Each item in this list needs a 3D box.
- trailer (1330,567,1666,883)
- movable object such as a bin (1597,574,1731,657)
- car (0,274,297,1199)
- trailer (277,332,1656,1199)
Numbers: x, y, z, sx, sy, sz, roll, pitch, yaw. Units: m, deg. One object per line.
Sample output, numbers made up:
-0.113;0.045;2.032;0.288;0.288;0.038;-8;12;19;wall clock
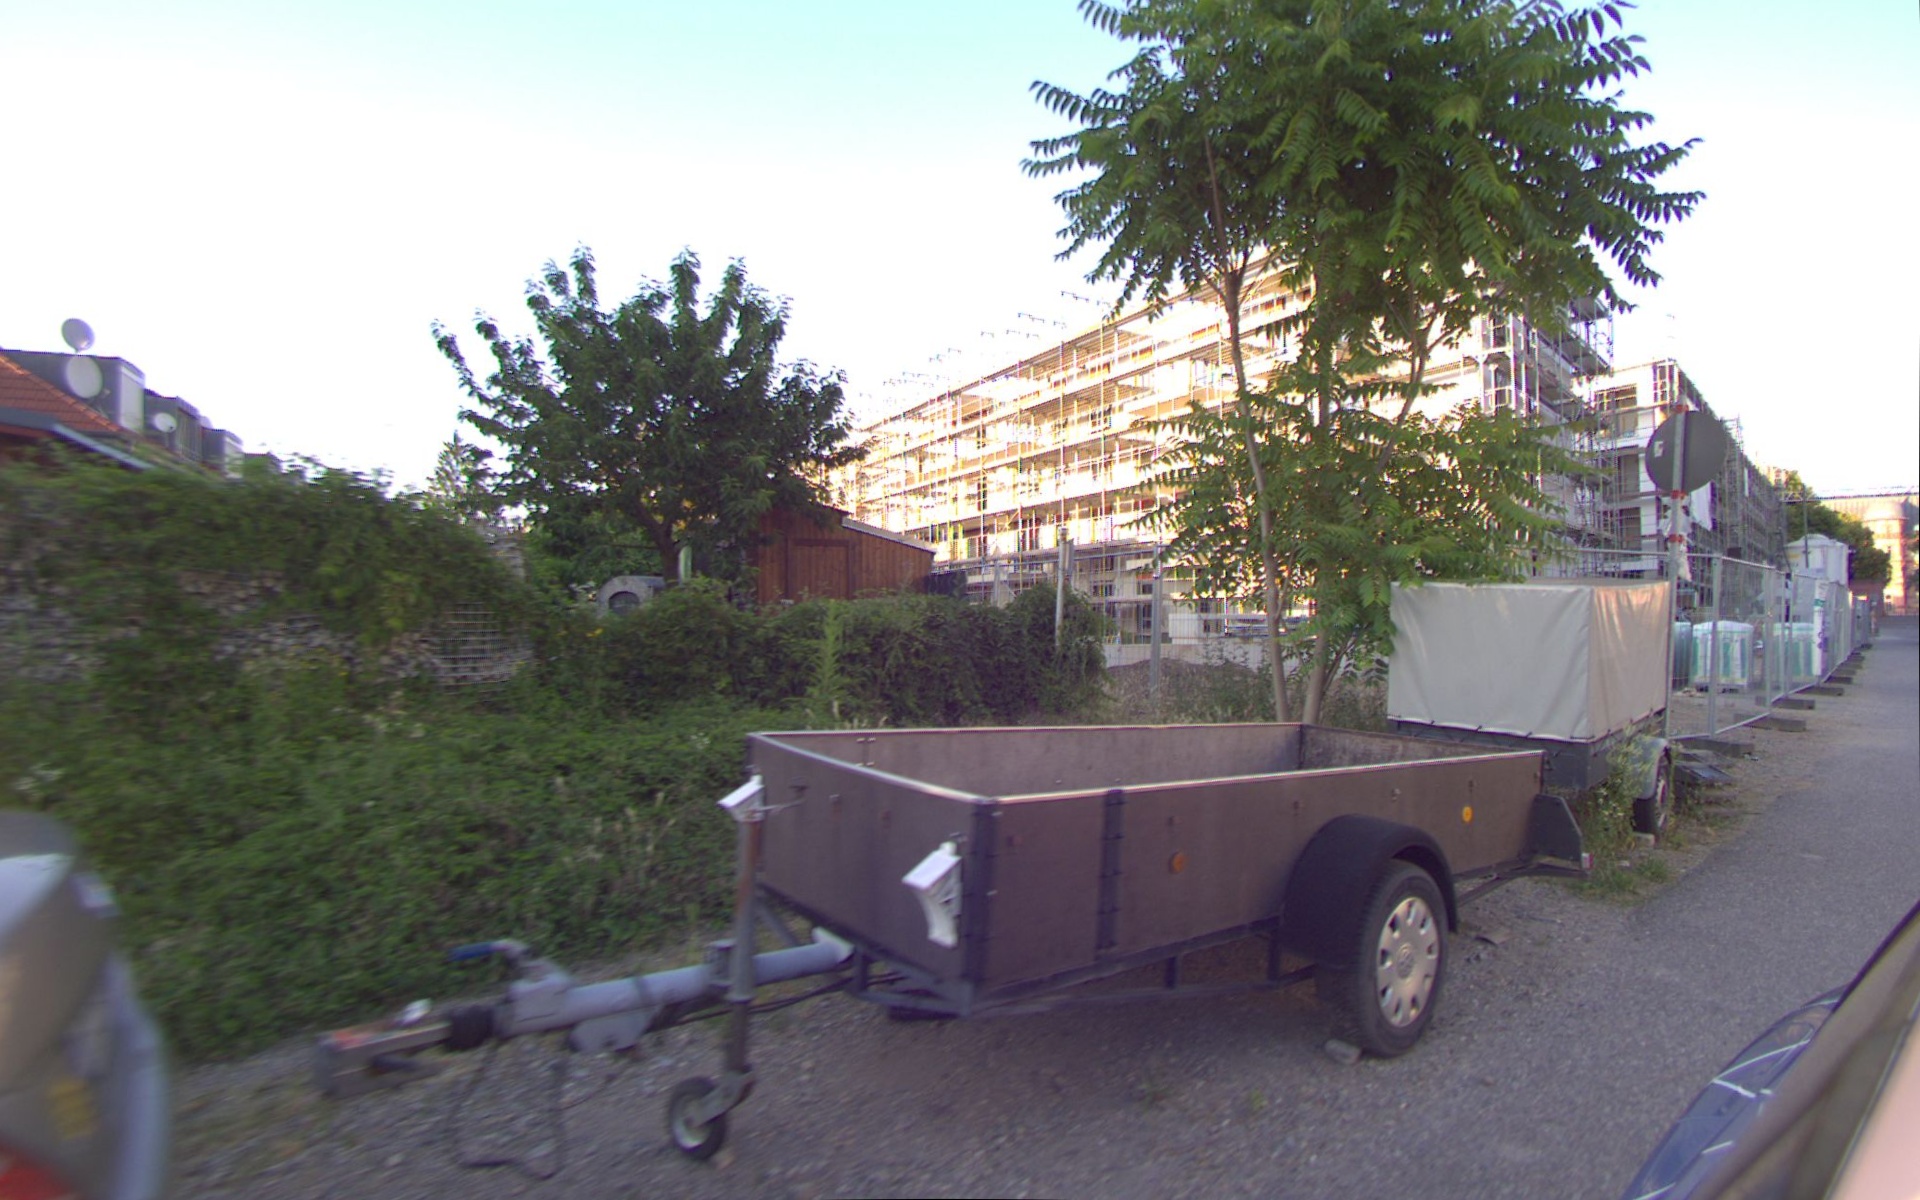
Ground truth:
3.716;0.656;6.825;2.757;1.686;1.251;0;0;-45;trailer
22.388;0.456;31.971;2.065;2.303;8.232;-1;-1;45;movable object such as a bin
-3.045;0.605;0.101;4.839;1.746;1.810;0;1;-39;car
0.610;0.537;3.544;4.848;1.800;1.735;0;0;-39;trailer
